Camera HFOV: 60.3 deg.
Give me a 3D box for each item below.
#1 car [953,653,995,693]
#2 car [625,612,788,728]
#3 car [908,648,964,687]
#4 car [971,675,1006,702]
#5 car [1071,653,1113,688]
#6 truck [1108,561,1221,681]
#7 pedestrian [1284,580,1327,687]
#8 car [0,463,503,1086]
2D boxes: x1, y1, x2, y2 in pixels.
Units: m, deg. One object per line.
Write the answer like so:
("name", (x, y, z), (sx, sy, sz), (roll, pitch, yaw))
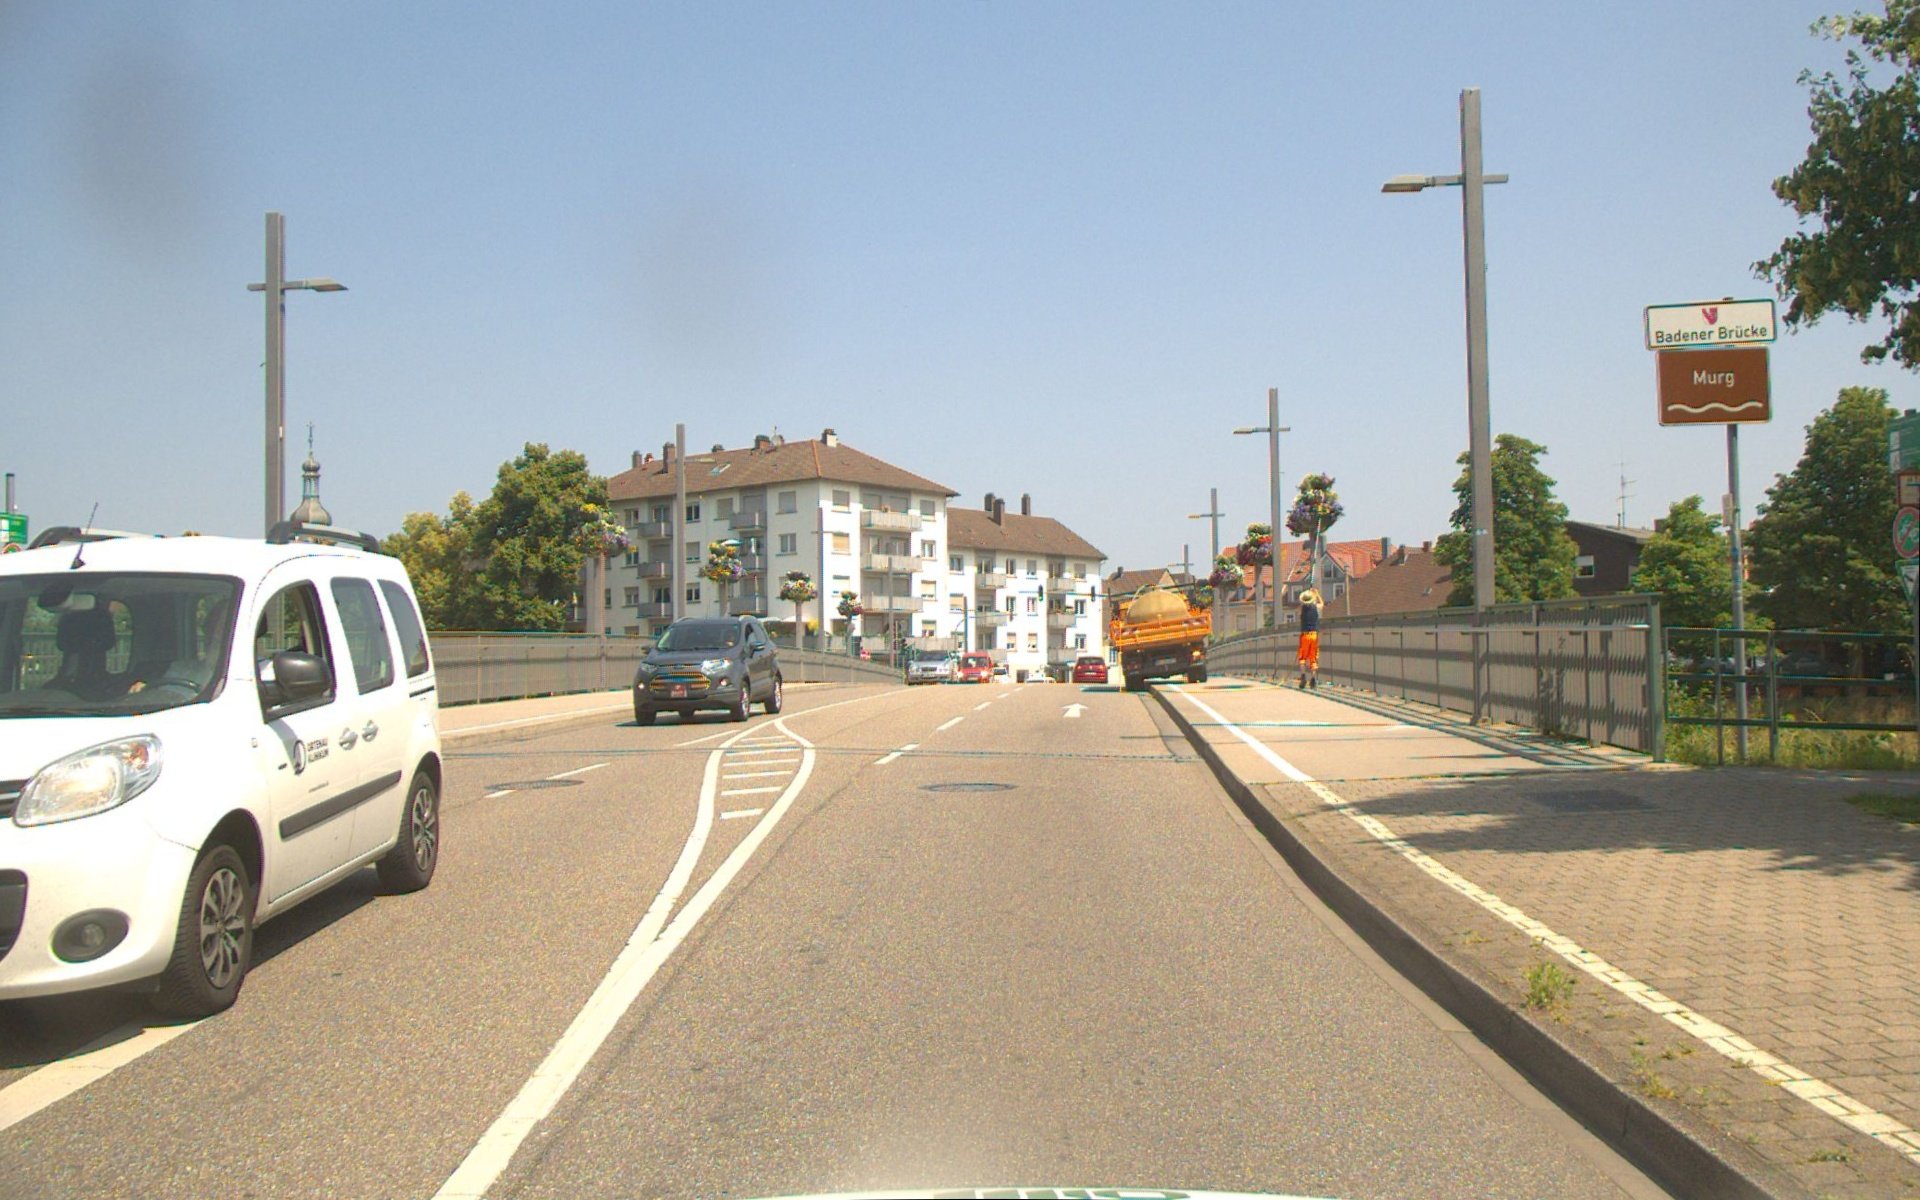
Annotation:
("car", (0.694, 3.511, 79.085), (1.699, 1.808, 4.178), (-1, -3, 4))
("car", (-4.013, 1.097, 26.763), (1.700, 1.669, 3.923), (-2, -2, 4))
("car", (-0.876, 2.574, 63.784), (1.662, 1.382, 4.458), (-2, -2, 5))
("car", (1.654, 5.091, 94.458), (1.805, 1.457, 4.714), (-1, -4, 3))
("car", (6.577, 3.528, 82.944), (1.948, 1.641, 4.343), (-1, -2, 3))
("truck", (5.036, 0.601, 41.384), (2.551, 2.738, 5.825), (-1, -2, 5))
("pedestrian", (6.578, 0.650, 31.468), (0.537, 1.994, 0.670), (-3, -4, 35))
("car", (-3.508, 0.578, 7.365), (1.800, 1.893, 4.660), (-2, -1, -3))
